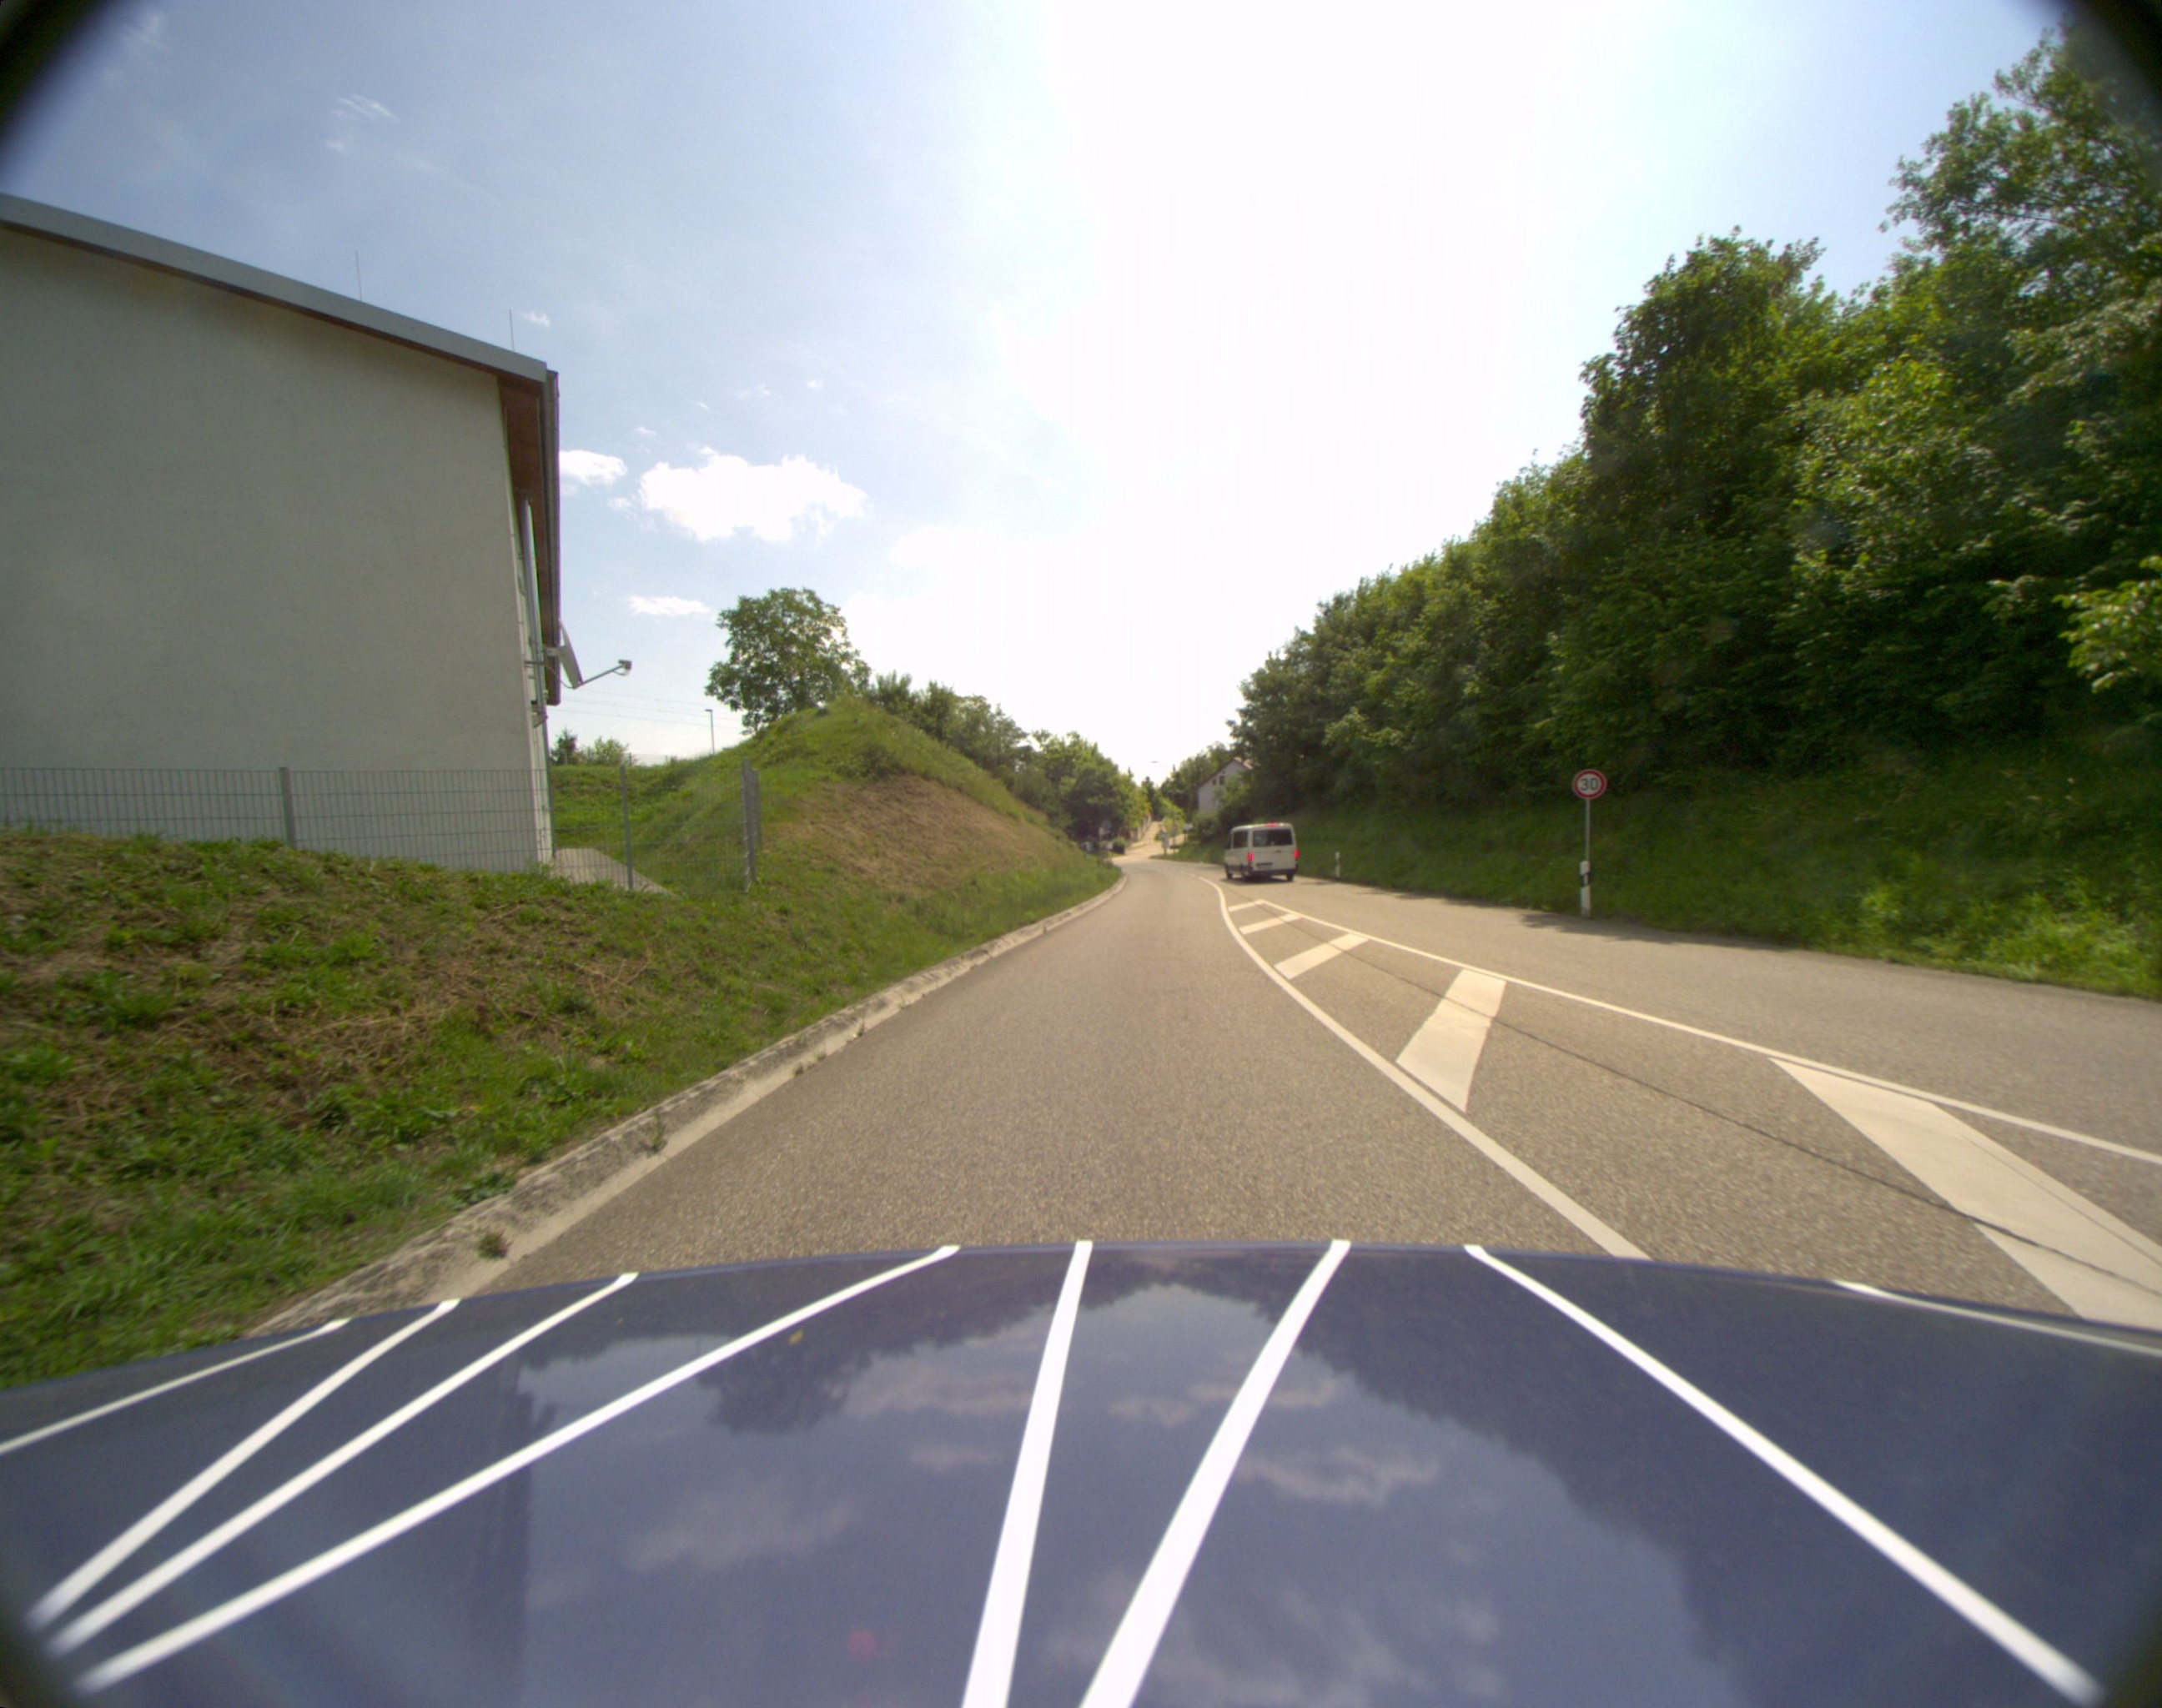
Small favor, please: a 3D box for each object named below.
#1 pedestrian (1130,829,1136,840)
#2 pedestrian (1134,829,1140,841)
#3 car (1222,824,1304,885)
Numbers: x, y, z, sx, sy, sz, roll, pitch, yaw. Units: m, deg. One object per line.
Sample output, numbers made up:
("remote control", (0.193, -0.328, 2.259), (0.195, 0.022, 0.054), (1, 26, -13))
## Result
("pedestrian", (7.706, -2.859, 112.693), (0.573, 1.546, 0.599), (-5, 3, 12))
("pedestrian", (8.304, -2.857, 112.897), (0.686, 1.703, 0.790), (-5, 3, 12))
("car", (7.539, 0.044, 32.165), (2.091, 2.277, 5.947), (-1, 0, 1))
